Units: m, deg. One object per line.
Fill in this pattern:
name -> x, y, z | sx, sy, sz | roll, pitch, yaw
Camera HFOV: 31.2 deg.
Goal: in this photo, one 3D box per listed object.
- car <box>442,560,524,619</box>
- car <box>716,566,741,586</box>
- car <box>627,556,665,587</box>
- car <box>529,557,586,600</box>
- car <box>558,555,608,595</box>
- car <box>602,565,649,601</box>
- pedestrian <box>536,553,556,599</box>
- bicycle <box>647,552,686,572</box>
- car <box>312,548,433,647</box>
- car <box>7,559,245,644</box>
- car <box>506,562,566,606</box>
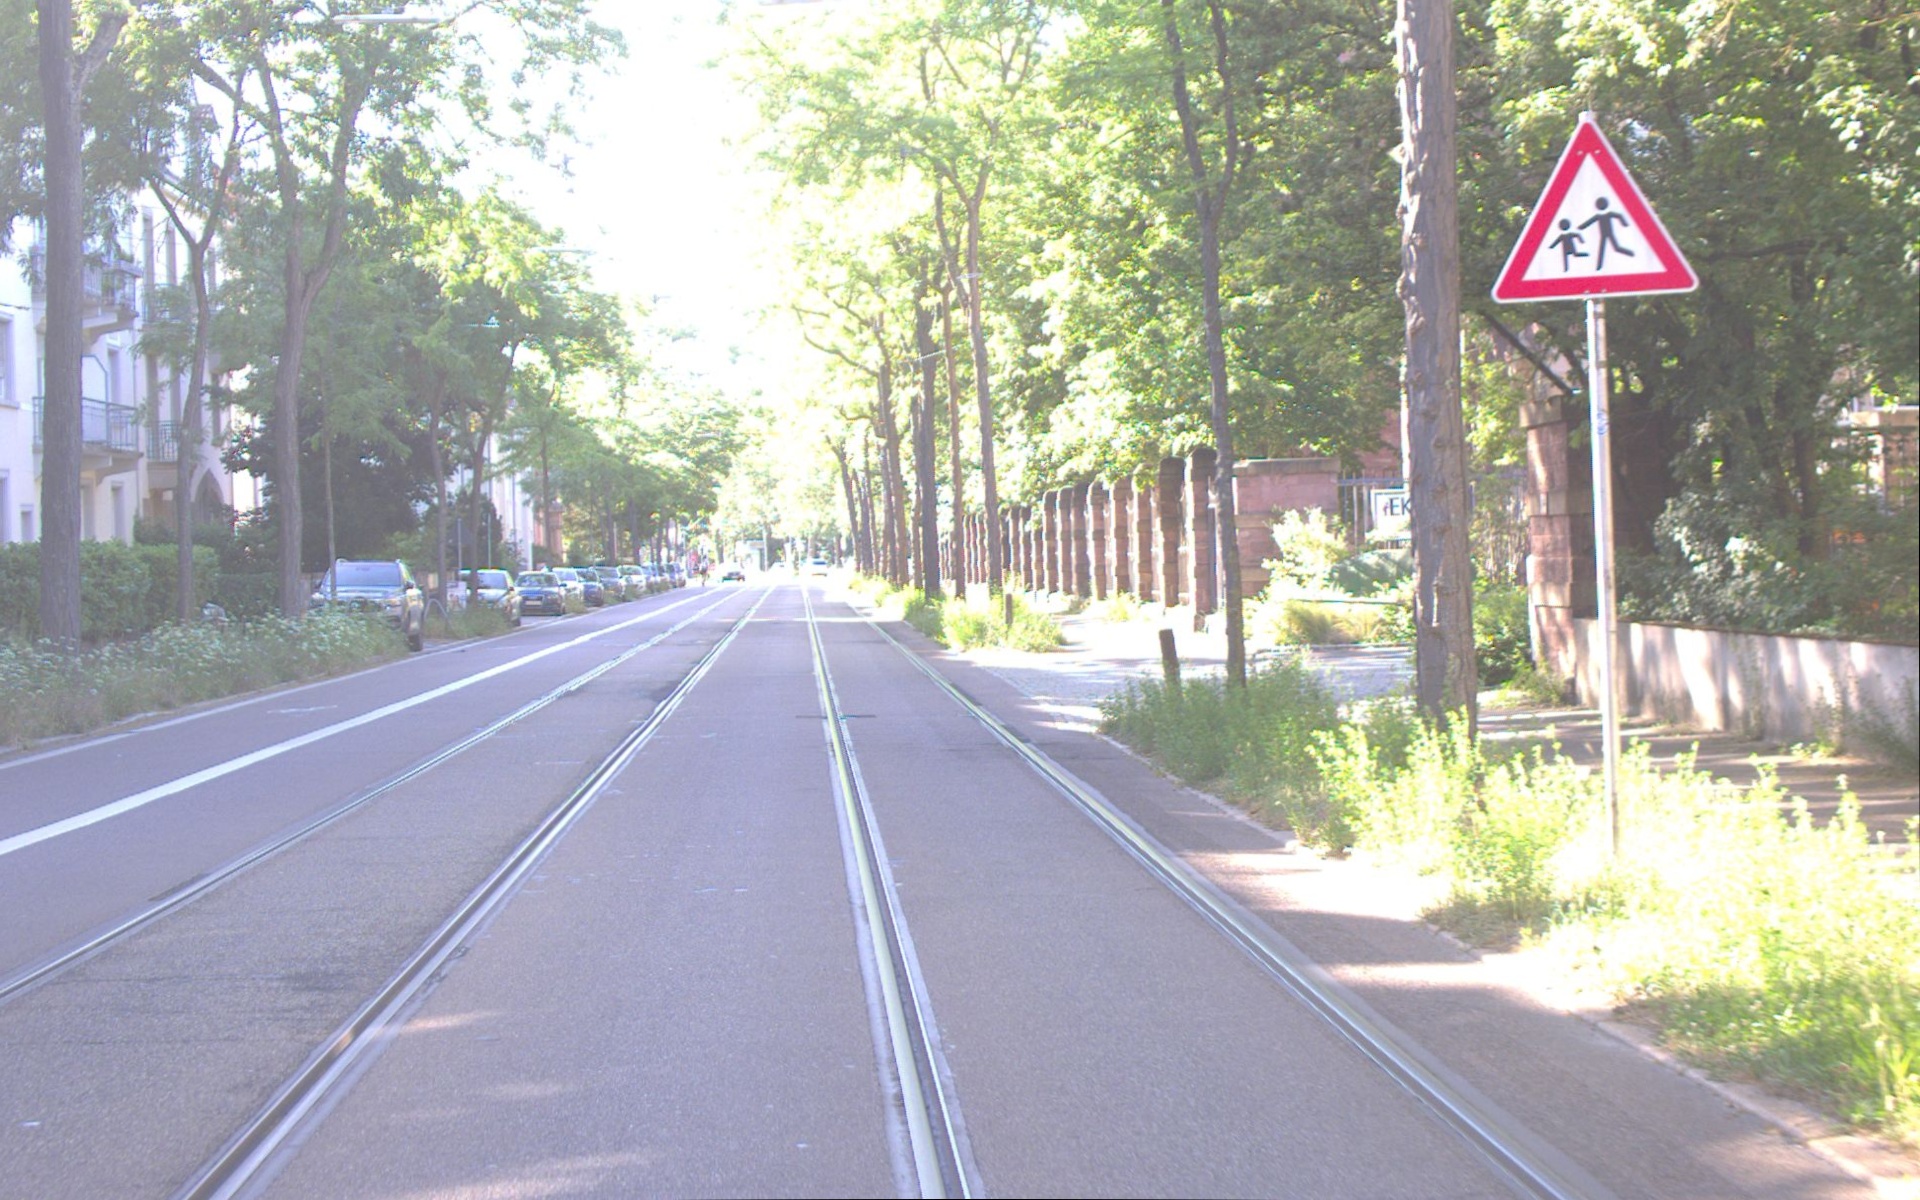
car -> -12.895, -0.307, 93.151 | 1.776, 1.536, 4.486 | 0, 1, -3
car -> -17.223, -1.794, 255.785 | 1.757, 1.434, 4.524 | -1, 1, -4
car -> -15.795, -1.439, 173.170 | 1.702, 1.480, 4.079 | 1, 1, -3
car -> -14.465, -0.791, 123.806 | 1.817, 1.506, 4.372 | 0, 1, -4
car -> -14.669, -0.989, 133.997 | 1.757, 1.506, 4.439 | 0, 1, -4
car -> -14.288, -0.729, 147.064 | 1.817, 1.480, 4.207 | 0, 1, -3
pedestrian -> -16.574, -0.966, 137.619 | 0.691, 1.795, 0.813 | -2, 1, -3
bicycle -> -17.935, -2.319, 210.274 | 2.285, 1.194, 0.559 | 1, 1, 4
car -> -11.330, -0.079, 66.540 | 1.870, 1.816, 4.772 | -1, 1, -5
car -> -16.624, 0.015, 68.667 | 4.300, 1.655, 1.953 | 0, 1, -1
car -> -13.800, -0.534, 112.063 | 1.705, 1.401, 4.334 | 0, 1, -4
